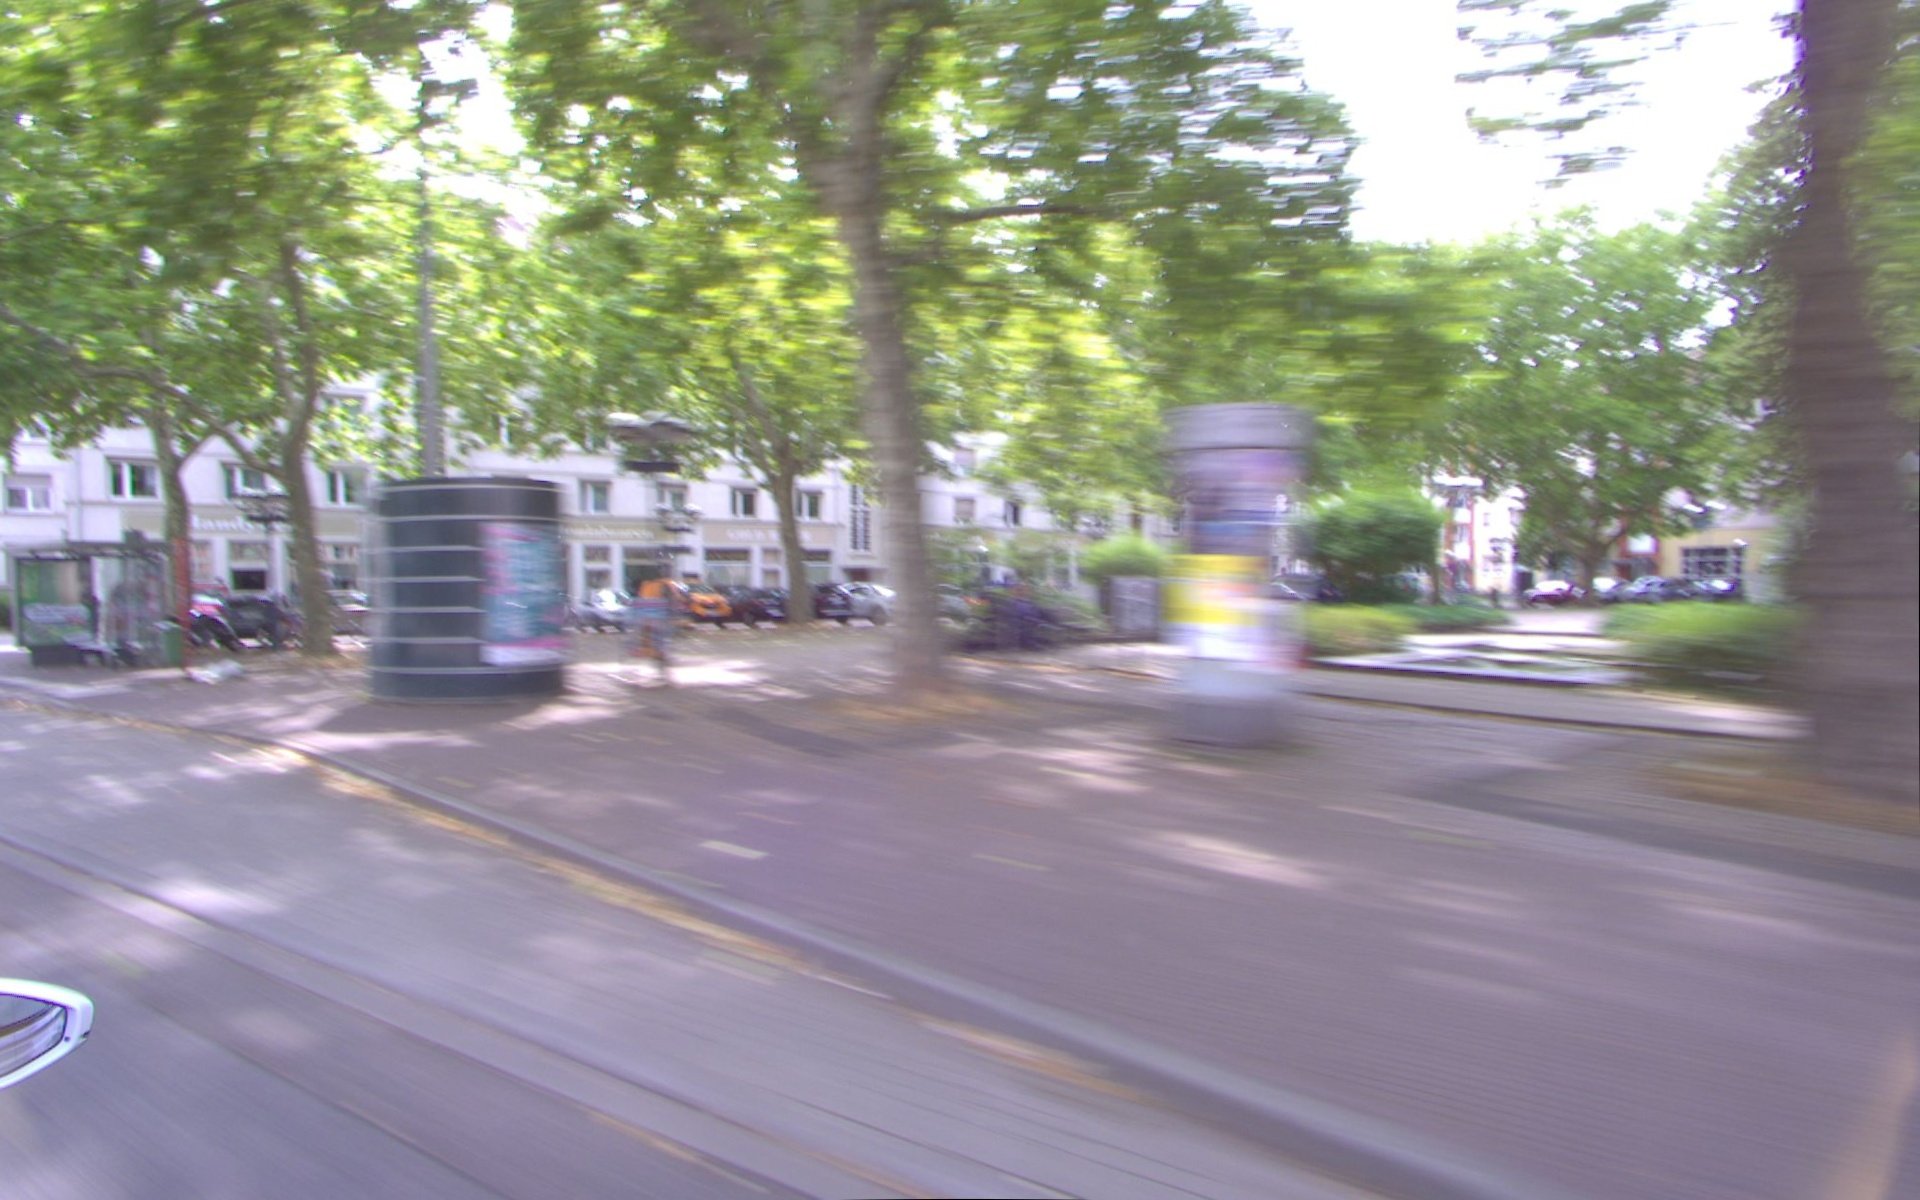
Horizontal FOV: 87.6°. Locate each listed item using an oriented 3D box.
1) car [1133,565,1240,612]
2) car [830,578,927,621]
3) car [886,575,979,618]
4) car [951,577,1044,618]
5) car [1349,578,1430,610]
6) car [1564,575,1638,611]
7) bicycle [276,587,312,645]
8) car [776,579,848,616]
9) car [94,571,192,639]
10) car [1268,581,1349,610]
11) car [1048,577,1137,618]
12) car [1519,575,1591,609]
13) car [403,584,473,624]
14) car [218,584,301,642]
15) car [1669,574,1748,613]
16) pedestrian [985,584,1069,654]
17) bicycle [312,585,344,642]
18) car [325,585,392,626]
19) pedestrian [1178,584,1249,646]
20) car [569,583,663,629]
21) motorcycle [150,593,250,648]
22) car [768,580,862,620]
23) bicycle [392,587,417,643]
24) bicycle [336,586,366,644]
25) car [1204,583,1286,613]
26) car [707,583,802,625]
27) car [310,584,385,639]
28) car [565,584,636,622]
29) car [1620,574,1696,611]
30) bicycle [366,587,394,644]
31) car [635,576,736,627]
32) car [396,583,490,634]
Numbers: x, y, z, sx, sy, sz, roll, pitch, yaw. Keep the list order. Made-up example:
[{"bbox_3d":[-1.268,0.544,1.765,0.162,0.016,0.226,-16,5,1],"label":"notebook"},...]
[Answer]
[{"bbox_3d":[9.508,-0.498,42.008,4.275,1.841,1.986,-1,2,-34],"label":"car"},{"bbox_3d":[-3.334,-0.060,40.186,1.976,1.640,4.171,-1,2,-37],"label":"car"},{"bbox_3d":[-1.197,-0.188,41.612,1.975,1.662,3.970,-1,2,-36],"label":"car"},{"bbox_3d":[1.562,-0.134,43.185,1.975,1.662,3.970,-1,2,-36],"label":"car"},{"bbox_3d":[25.582,-0.407,59.723,1.979,1.818,3.962,-1,2,-42],"label":"car"},{"bbox_3d":[34.153,-0.397,53.313,3.949,1.840,1.985,-1,2,-36],"label":"car"},{"bbox_3d":[-16.959,0.375,25.516,0.414,1.397,2.301,-1,2,-26],"label":"bicycle"},{"bbox_3d":[-7.415,-0.151,49.940,1.975,1.751,3.970,-1,1,-36],"label":"car"},{"bbox_3d":[-22.409,0.084,27.591,1.915,1.729,4.296,-1,2,-38],"label":"car"},{"bbox_3d":[19.142,-0.259,55.182,1.968,1.503,4.084,0,2,-24],"label":"car"},{"bbox_3d":[6.132,-0.148,46.675,1.895,1.840,3.967,-1,2,-38],"label":"car"},{"bbox_3d":[32.826,-0.449,55.193,3.949,1.840,1.985,-1,2,-36],"label":"car"},{"bbox_3d":[-20.709,0.116,39.641,1.974,1.508,4.165,-1,1,-35],"label":"car"},{"bbox_3d":[-20.554,0.325,29.314,1.811,1.573,3.969,-1,2,-37],"label":"car"},{"bbox_3d":[36.536,-0.332,48.863,3.949,1.840,1.985,-1,2,-36],"label":"car"},{"bbox_3d":[1.225,0.326,18.357,1.084,1.229,1.133,-1,2,-33],"label":"pedestrian"},{"bbox_3d":[-16.307,0.322,25.867,0.414,1.397,2.301,-1,1,-26],"label":"bicycle"},{"bbox_3d":[-23.512,0.173,39.099,1.974,1.524,4.165,-1,1,-35],"label":"car"},{"bbox_3d":[5.284,0.294,20.900,0.877,1.217,1.115,-1,2,-36],"label":"pedestrian"},{"bbox_3d":[-12.043,0.166,34.952,1.976,1.484,3.968,-1,2,-37],"label":"car"},{"bbox_3d":[-18.324,0.472,24.192,0.523,1.239,1.851,2,2,29],"label":"motorcycle"},{"bbox_3d":[-5.682,-0.050,39.033,1.976,1.484,3.968,-1,2,-37],"label":"car"},{"bbox_3d":[-14.700,0.371,26.520,0.414,1.397,2.301,-1,2,-26],"label":"bicycle"},{"bbox_3d":[-15.752,0.359,25.915,0.414,1.397,2.300,-1,3,-26],"label":"bicycle"},{"bbox_3d":[14.914,-0.126,52.628,1.968,1.503,4.084,0,2,-24],"label":"car"},{"bbox_3d":[-7.779,0.123,37.716,1.976,1.484,3.968,-1,2,-37],"label":"car"},{"bbox_3d":[-18.324,0.285,29.872,1.728,1.484,4.156,-1,2,-34],"label":"car"},{"bbox_3d":[-16.524,0.094,45.931,1.975,1.612,4.163,-1,1,-36],"label":"car"},{"bbox_3d":[35.666,-0.403,51.163,3.949,1.840,1.985,-1,2,-36],"label":"car"},{"bbox_3d":[-15.215,0.371,26.293,0.414,1.397,2.301,-1,2,-26],"label":"bicycle"},{"bbox_3d":[-9.928,0.012,36.006,1.976,1.718,4.524,-1,2,-37],"label":"car"},{"bbox_3d":[-16.359,0.210,31.598,1.976,1.484,3.968,-1,2,-37],"label":"car"}]
